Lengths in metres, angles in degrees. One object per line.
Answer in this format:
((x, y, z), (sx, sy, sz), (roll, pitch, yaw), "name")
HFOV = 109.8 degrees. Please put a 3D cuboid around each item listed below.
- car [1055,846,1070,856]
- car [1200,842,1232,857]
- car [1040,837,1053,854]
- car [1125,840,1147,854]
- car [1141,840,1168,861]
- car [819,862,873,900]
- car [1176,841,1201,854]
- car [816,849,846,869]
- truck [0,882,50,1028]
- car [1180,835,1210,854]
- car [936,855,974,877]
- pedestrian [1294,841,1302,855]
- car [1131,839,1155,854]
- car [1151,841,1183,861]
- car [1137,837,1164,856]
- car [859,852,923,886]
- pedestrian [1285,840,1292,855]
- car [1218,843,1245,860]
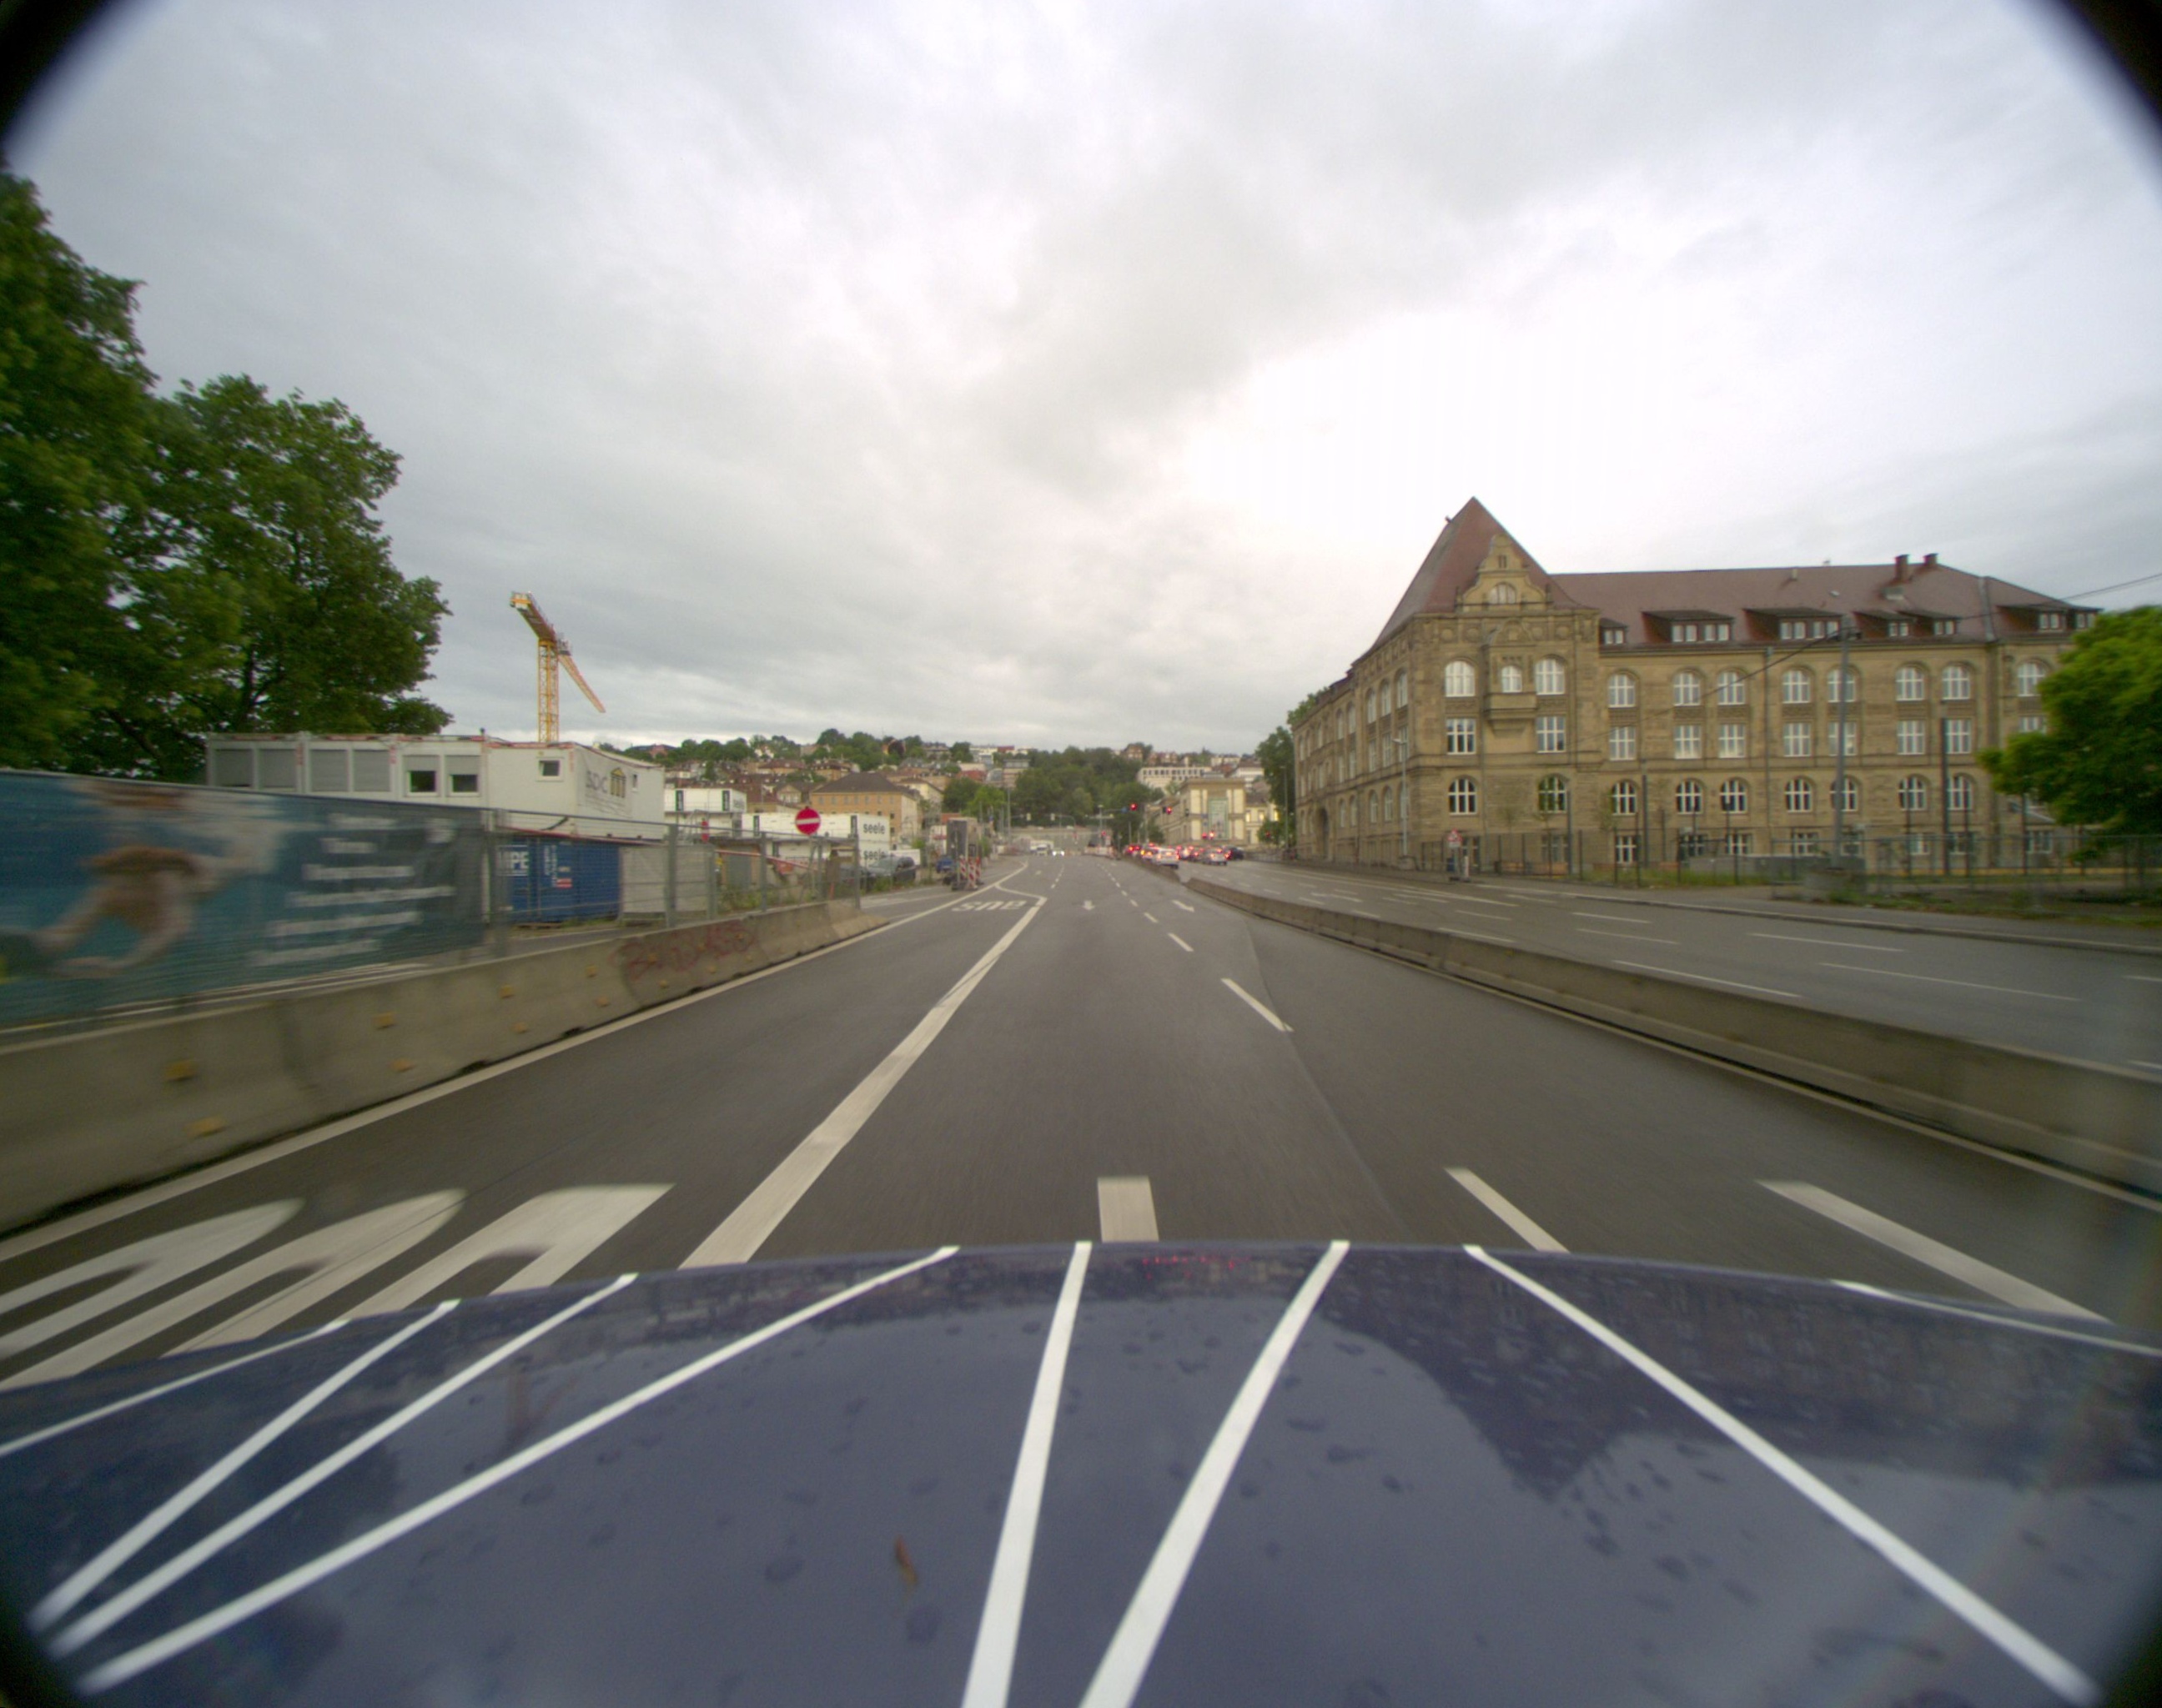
((-3.205, -0.531, 130.776), (2.000, 1.561, 3.996), (1, 1, -8), "car")
((12.961, -0.439, 73.131), (1.999, 1.374, 4.209), (1, 1, -6), "car")
((-8.386, -2.218, 185.556), (2.836, 3.991, 8.723), (1, 1, 1), "car")
((6.427, -0.808, 89.470), (1.999, 1.558, 5.379), (1, 1, -3), "car")
((6.688, -0.326, 69.426), (1.914, 1.856, 4.377), (1, 1, -2), "car")
((-11.425, 1.278, 37.182), (1.857, 1.477, 3.994), (1, 4, -7), "car")
((12.408, -0.788, 88.246), (1.999, 1.374, 4.209), (1, 1, -4), "car")
((-24.606, 0.438, 74.878), (2.020, 1.890, 4.649), (1, 1, -9), "car")
((-17.526, 1.469, 9.580), (5.169, 2.002, 2.407), (-1, 2, -7), "truck")
((12.164, -1.035, 81.322), (2.000, 2.002, 3.996), (1, 1, -8), "car")
((-9.302, 0.845, 56.486), (1.837, 1.433, 4.413), (-2, 1, 3), "car")
((24.253, -0.663, 84.798), (0.618, 1.575, 0.734), (1, 2, -7), "pedestrian")
((6.765, -0.859, 83.241), (1.999, 1.493, 4.819), (1, 1, -3), "car")
((7.025, -0.270, 62.512), (1.899, 1.558, 4.896), (1, 1, -2), "car")
((6.910, -0.777, 76.096), (1.999, 1.856, 5.593), (1, 1, -2), "car")
((-10.608, 0.778, 42.859), (1.925, 1.640, 4.415), (4, 2, 7), "car")
((23.193, -0.724, 84.866), (0.618, 1.575, 0.734), (1, 2, 0), "pedestrian")
((18.528, -0.289, 93.670), (2.000, 2.002, 3.996), (1, 1, -8), "car")
